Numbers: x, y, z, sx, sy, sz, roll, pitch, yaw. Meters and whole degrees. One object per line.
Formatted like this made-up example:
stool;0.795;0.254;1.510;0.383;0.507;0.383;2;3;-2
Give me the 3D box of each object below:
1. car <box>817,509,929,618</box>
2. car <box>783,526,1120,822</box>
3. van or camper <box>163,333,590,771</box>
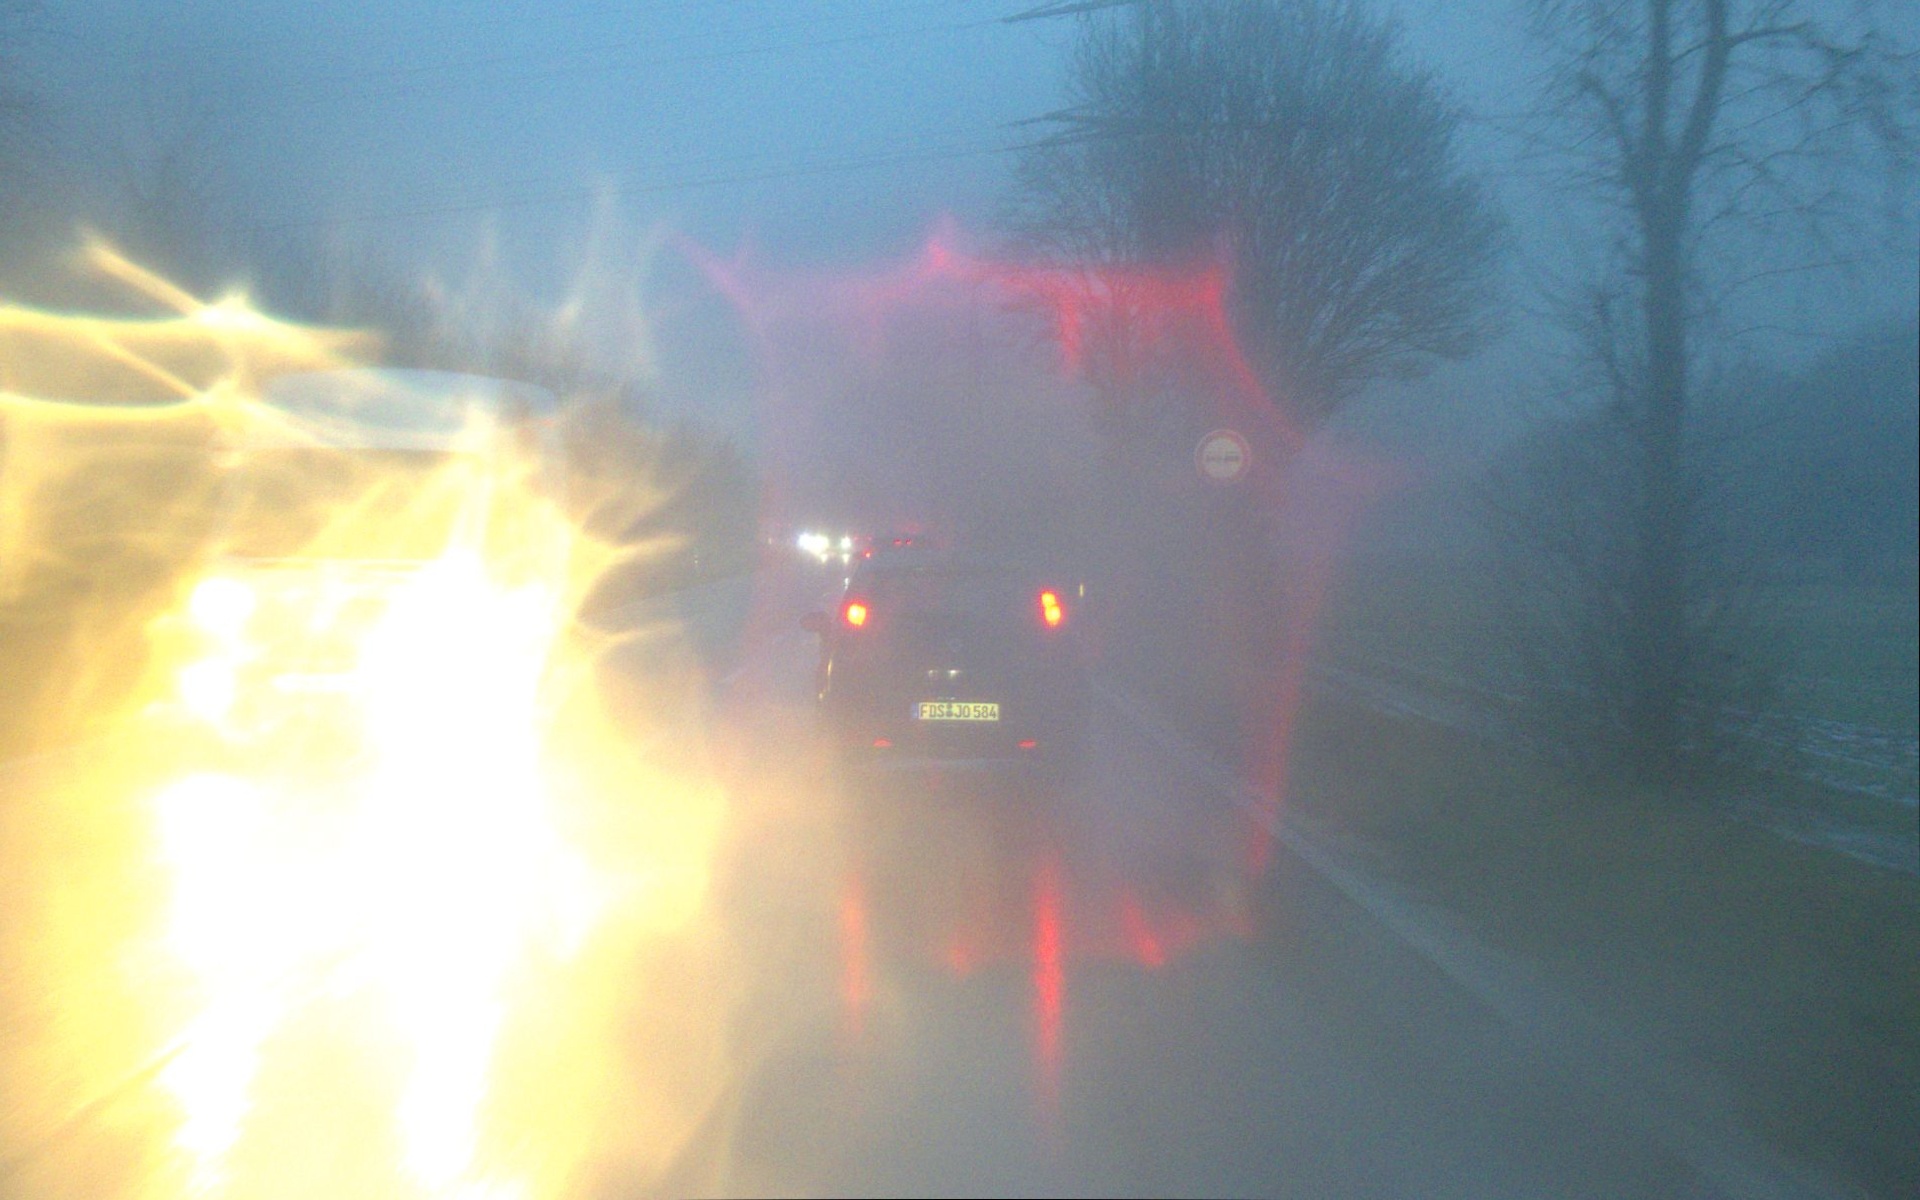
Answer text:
car;-1.642;-0.706;65.970;1.993;2.007;4.000;-1;1;1
car;-0.082;0.407;22.310;1.993;1.746;4.000;0;1;-1
van or camper;-4.075;-0.358;25.239;2.021;2.767;6.744;-1;1;-1
